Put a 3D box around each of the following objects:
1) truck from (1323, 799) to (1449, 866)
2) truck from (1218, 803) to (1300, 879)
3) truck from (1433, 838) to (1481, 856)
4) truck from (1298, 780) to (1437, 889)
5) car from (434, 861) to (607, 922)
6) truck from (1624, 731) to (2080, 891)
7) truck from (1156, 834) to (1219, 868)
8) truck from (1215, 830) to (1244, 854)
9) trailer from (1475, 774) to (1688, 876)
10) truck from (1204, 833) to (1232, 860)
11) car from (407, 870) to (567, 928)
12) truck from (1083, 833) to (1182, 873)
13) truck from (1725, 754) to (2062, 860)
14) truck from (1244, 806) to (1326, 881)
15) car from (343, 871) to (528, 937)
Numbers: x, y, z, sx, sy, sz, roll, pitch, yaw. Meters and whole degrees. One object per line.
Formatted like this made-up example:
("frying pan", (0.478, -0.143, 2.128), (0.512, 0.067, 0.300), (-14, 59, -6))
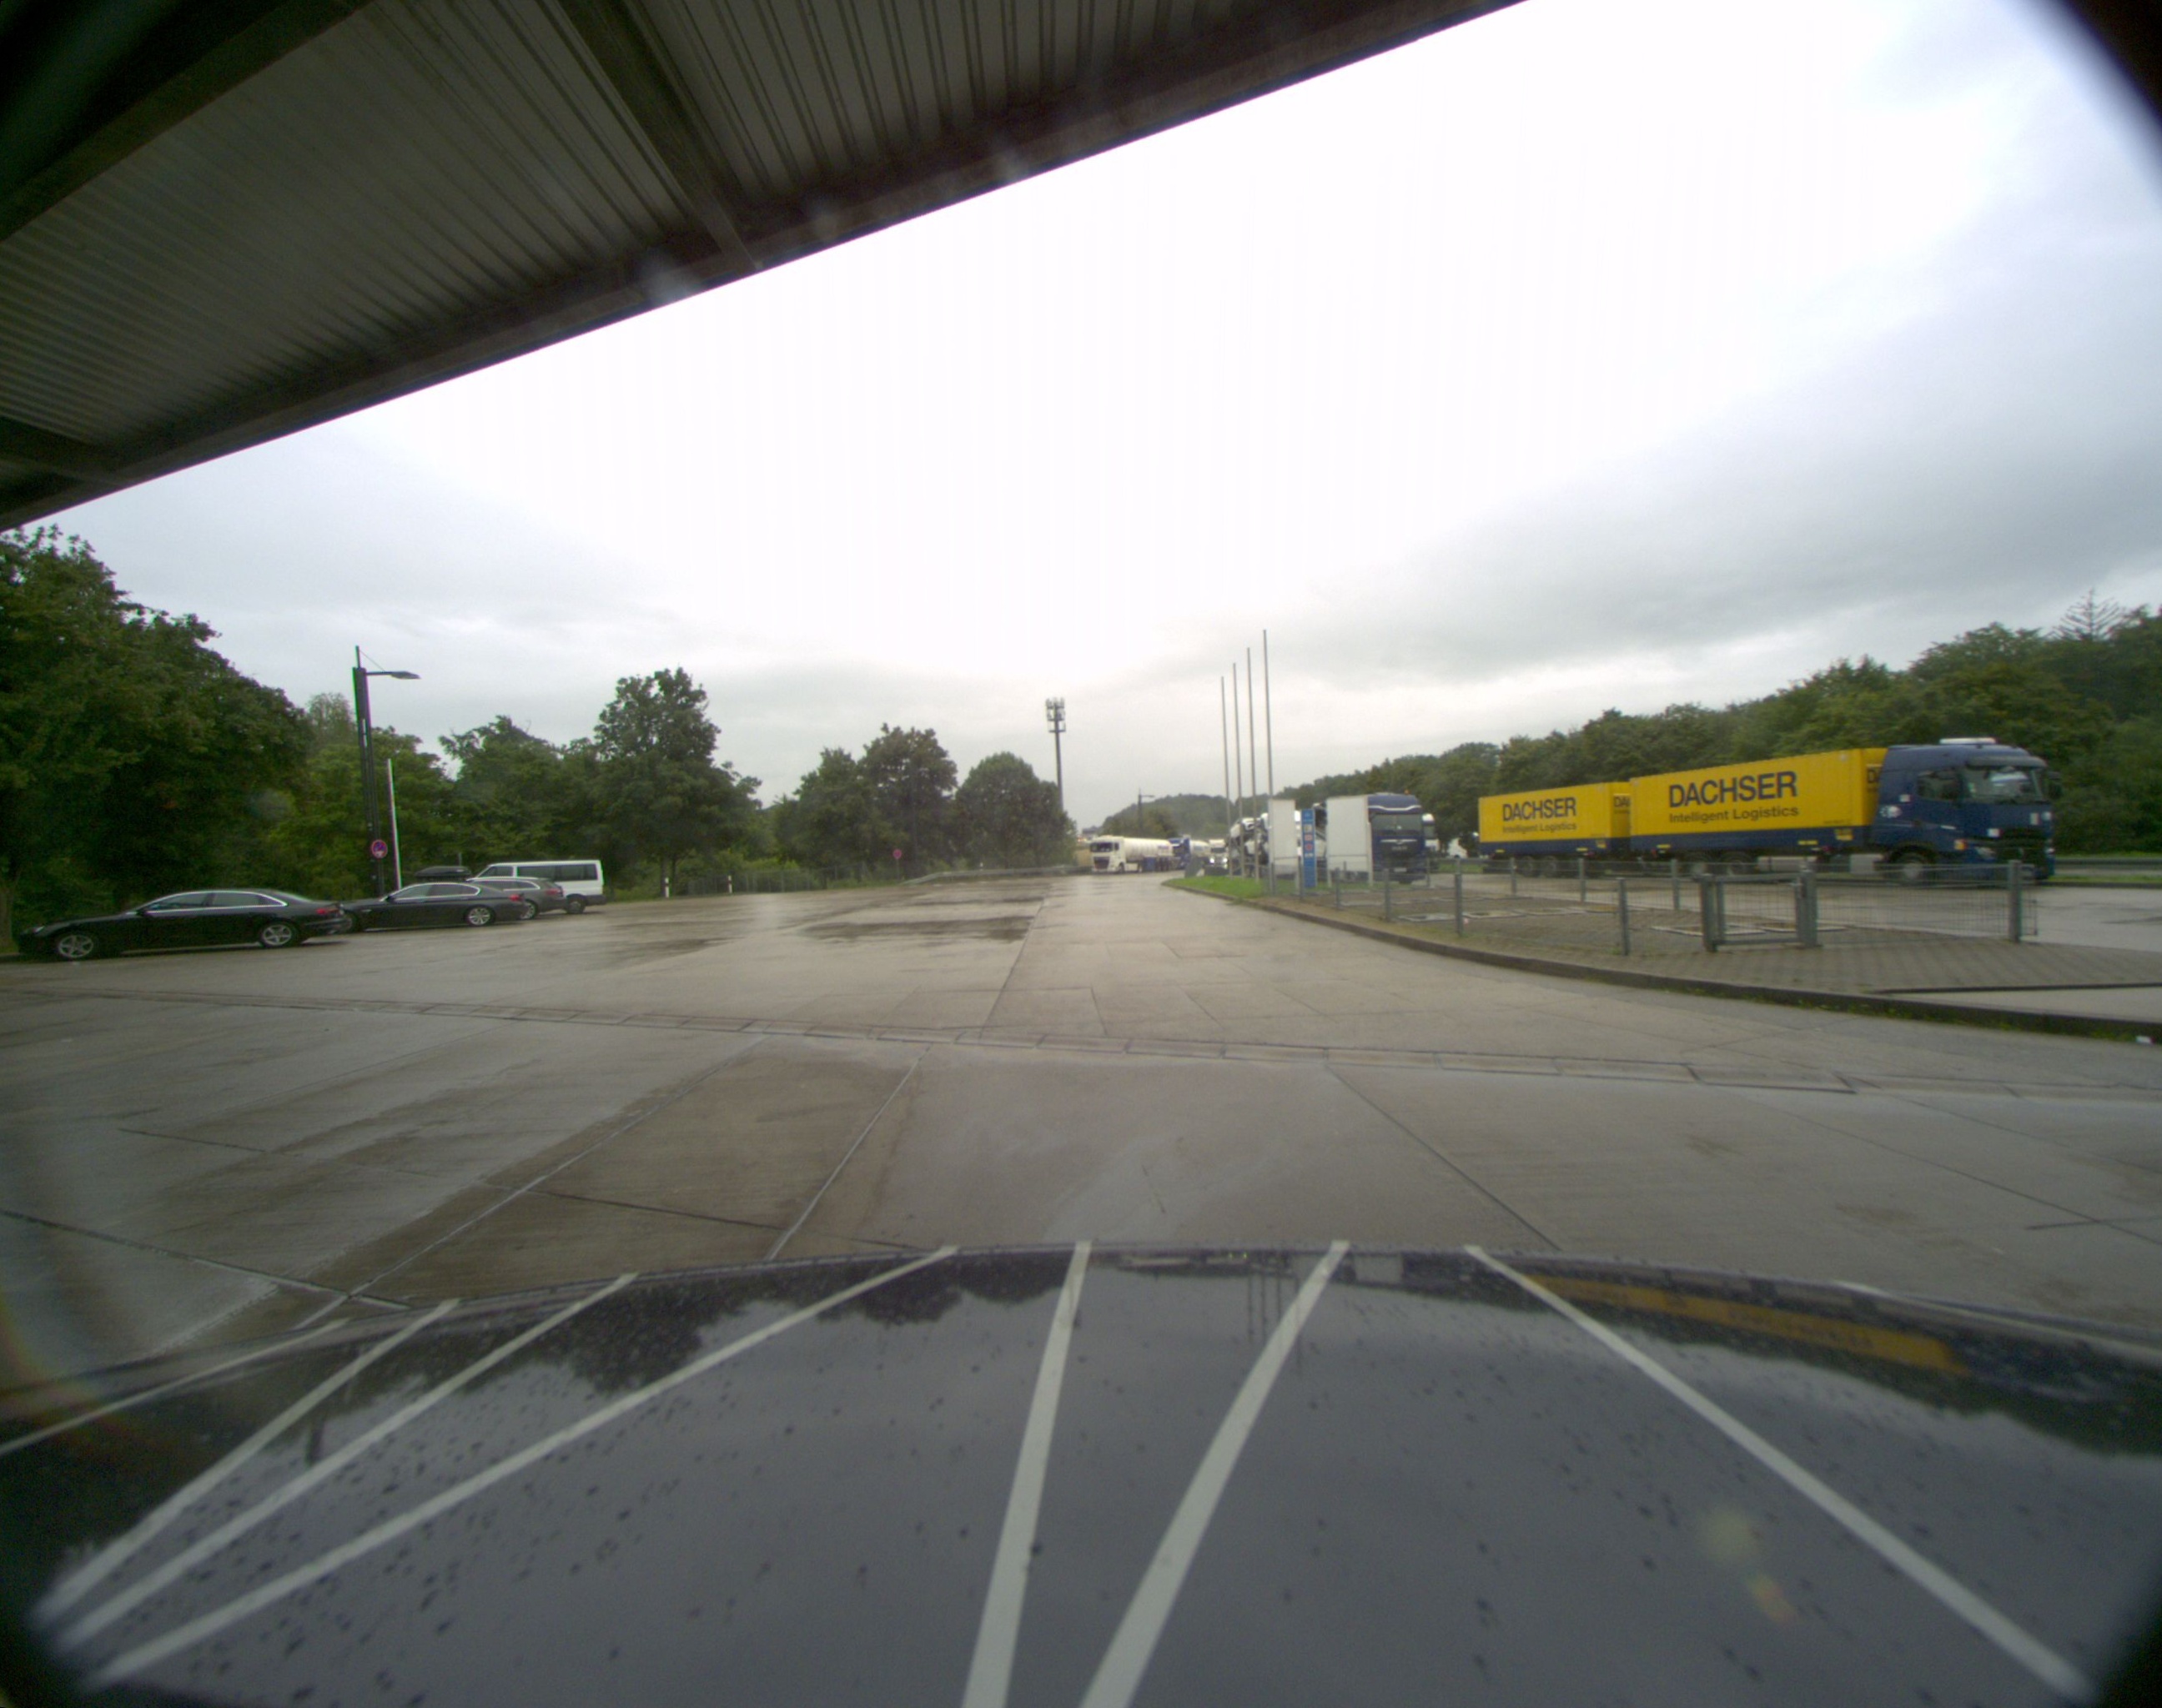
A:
("truck", (19.881, -1.293, 50.544), (2.757, 3.894, 10.678), (-2, 1, -8))
("truck", (10.568, -0.721, 45.755), (2.665, 4.157, 6.618), (-2, 1, -6))
("truck", (45.439, -0.825, 91.939), (2.082, 2.112, 5.827), (-2, 1, -10))
("truck", (12.181, -0.792, 33.156), (2.665, 4.157, 7.103), (-2, 0, -6))
("car", (-20.431, 1.291, 27.973), (4.898, 1.938, 2.310), (-2, 0, -35))
("truck", (23.150, -1.123, 24.302), (2.757, 3.894, 10.678), (-2, 1, -8))
("truck", (12.782, -0.396, 89.665), (3.506, 3.584, 14.686), (-2, 0, 23))
("truck", (32.960, -2.636, 168.729), (3.145, 5.092, 11.515), (-2, 1, -5))
("trailer", (21.789, -1.179, 33.923), (2.757, 3.894, 8.700), (-2, 1, -9))
("truck", (22.430, -1.247, 125.169), (3.143, 4.105, 11.523), (-2, 1, 3))
("car", (-19.475, 1.430, 25.137), (4.007, 1.650, 1.596), (-2, 0, -35))
("truck", (5.453, -0.155, 75.185), (3.505, 3.584, 14.426), (-2, 0, 31))
("truck", (33.907, -1.754, 32.688), (2.421, 3.785, 10.223), (-2, 1, -10))
("truck", (11.044, -0.553, 41.564), (2.665, 3.750, 4.747), (-2, 1, -6))
("car", (-18.880, 1.397, 22.485), (4.007, 1.650, 1.596), (-2, 0, -35))
